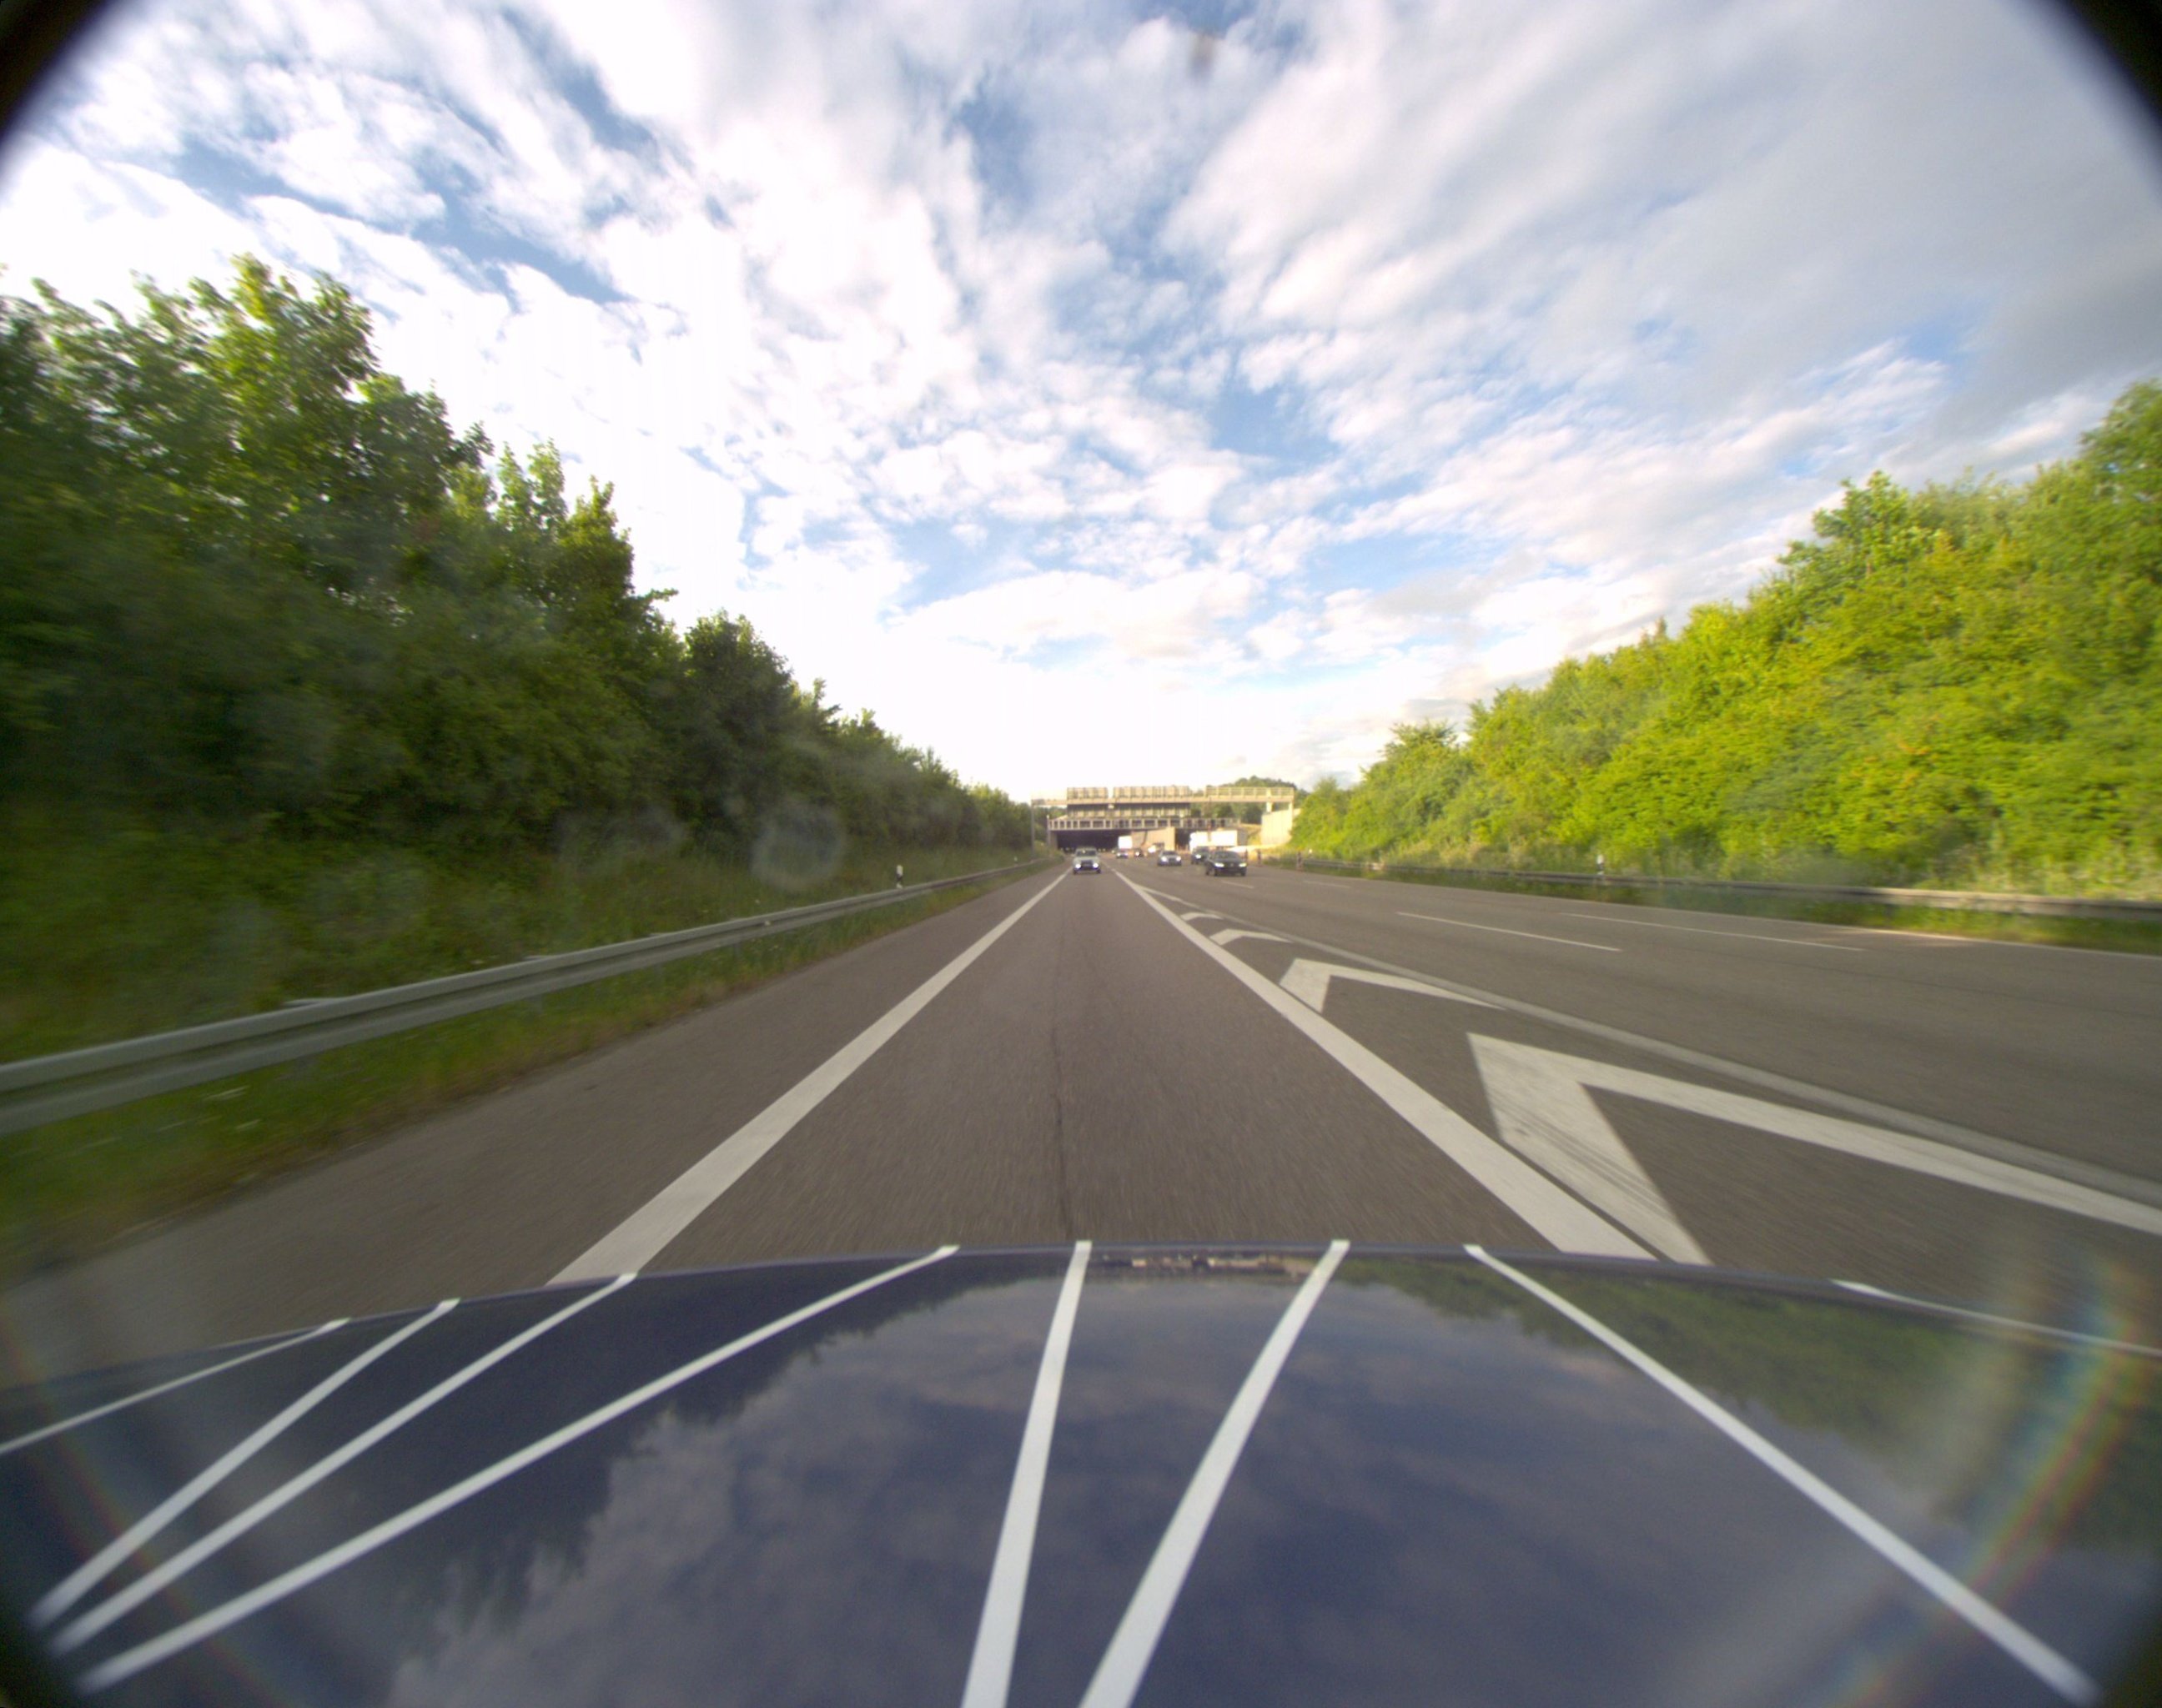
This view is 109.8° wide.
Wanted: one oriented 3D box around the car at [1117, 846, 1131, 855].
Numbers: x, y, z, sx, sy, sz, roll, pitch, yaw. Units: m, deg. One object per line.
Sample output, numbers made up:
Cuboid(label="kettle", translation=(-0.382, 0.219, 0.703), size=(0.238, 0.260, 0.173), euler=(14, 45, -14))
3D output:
Cuboid(label="car", translation=(7.586, -0.657, 134.498), size=(1.999, 1.472, 4.944), euler=(-1, 1, -4))

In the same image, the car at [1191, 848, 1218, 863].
Cuboid(label="car", translation=(11.696, 0.130, 72.040), size=(1.880, 1.284, 4.000), euler=(-2, 1, 1))

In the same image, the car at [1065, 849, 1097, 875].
Cuboid(label="car", translation=(0.066, 0.546, 53.037), size=(1.904, 1.655, 4.001), euler=(-2, 1, 4))

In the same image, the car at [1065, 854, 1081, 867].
Cuboid(label="car", translation=(-0.877, 0.751, 86.840), size=(1.619, 1.451, 3.663), euler=(-3, 0, 3))

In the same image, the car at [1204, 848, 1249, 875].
Cuboid(label="car", translation=(8.010, 0.358, 42.150), size=(1.762, 1.398, 4.000), euler=(-1, 1, 1))

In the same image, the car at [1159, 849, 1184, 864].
Cuboid(label="car", translation=(8.225, 0.186, 69.130), size=(1.797, 1.284, 4.000), euler=(-1, 1, 1))
